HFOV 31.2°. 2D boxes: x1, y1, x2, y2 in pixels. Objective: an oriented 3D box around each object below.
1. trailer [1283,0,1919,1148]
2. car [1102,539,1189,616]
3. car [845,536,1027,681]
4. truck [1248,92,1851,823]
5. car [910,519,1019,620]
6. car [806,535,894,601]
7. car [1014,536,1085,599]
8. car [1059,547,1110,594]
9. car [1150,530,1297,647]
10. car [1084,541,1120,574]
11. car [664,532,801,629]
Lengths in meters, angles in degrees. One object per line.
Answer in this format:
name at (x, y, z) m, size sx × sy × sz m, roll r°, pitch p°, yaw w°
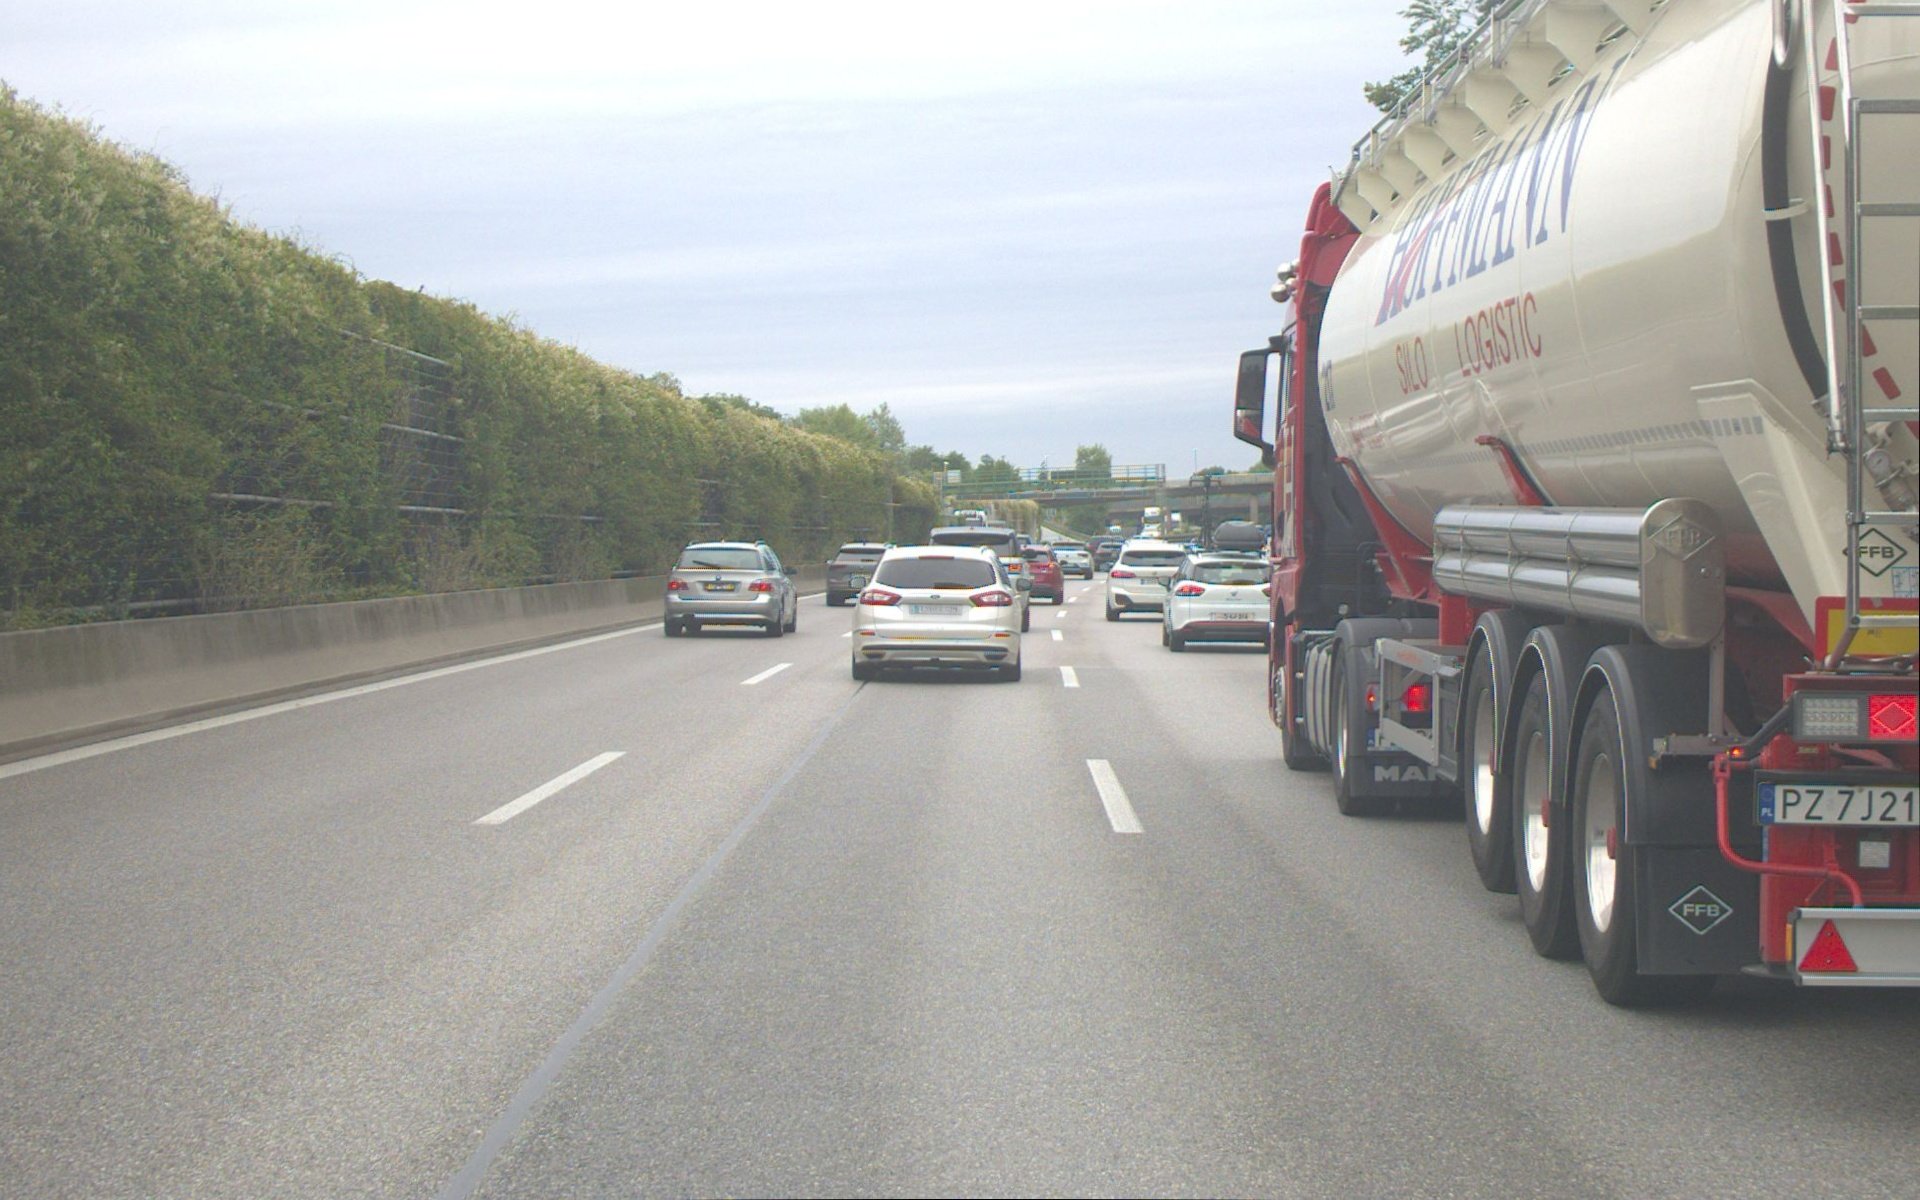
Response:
trailer at (3.362, -0.674, 15.000) m, size 2.668 × 3.925 × 13.130 m, roll 0°, pitch 1°, yaw 0°
car at (3.690, -0.453, 68.591) m, size 1.689 × 1.501 × 3.871 m, roll 0°, pitch 0°, yaw 3°
car at (-0.216, 0.047, 38.647) m, size 1.892 × 1.499 × 5.030 m, roll 1°, pitch 1°, yaw 1°
truck at (3.420, -0.791, 21.619) m, size 2.695 × 3.899 × 6.556 m, roll 0°, pitch 0°, yaw 0°
car at (0.105, -0.550, 58.884) m, size 1.689 × 1.501 × 3.872 m, roll 4°, pitch 2°, yaw 1°
car at (-2.539, -0.767, 80.570) m, size 1.720 × 1.507 × 5.030 m, roll 0°, pitch 1°, yaw 2°
car at (2.204, -0.809, 84.563) m, size 1.689 × 1.501 × 3.871 m, roll 0°, pitch 1°, yaw 2°
car at (4.913, -1.169, 135.132) m, size 1.790 × 1.773 × 3.871 m, roll -1°, pitch 1°, yaw 5°
car at (3.789, -0.194, 50.087) m, size 1.816 × 1.620 × 5.030 m, roll 0°, pitch 1°, yaw 1°
car at (6.836, -2.062, 165.466) m, size 1.689 × 1.534 × 3.871 m, roll 0°, pitch 1°, yaw 2°
car at (-3.576, -0.294, 54.734) m, size 1.720 × 1.464 × 5.030 m, roll 0°, pitch 0°, yaw 1°
